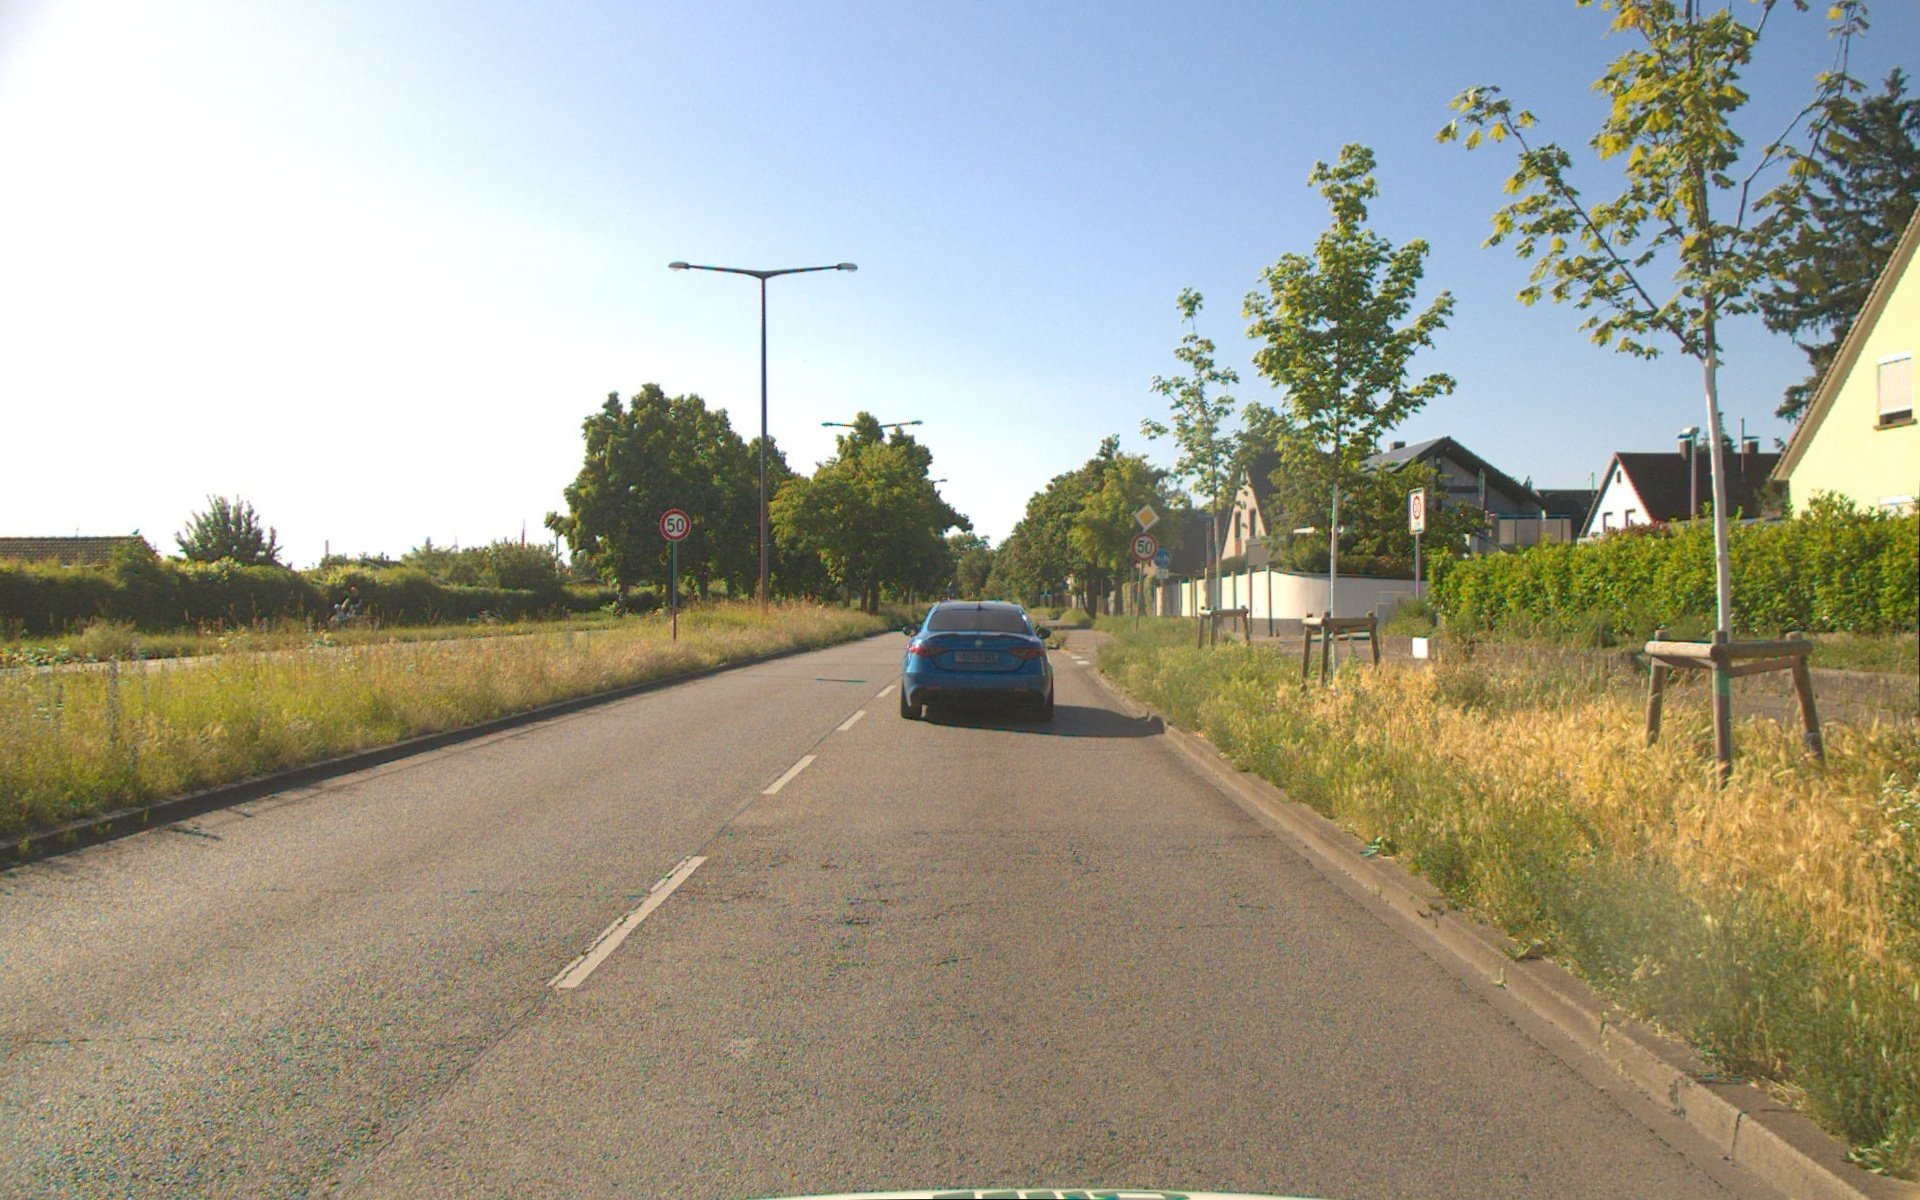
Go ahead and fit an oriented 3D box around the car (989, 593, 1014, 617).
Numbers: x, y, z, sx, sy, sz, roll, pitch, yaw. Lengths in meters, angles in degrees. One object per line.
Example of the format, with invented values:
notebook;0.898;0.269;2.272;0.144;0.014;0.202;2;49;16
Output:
car;2.786;0.339;111.038;1.626;1.607;3.809;1;0;1

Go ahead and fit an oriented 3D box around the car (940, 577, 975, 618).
car;-0.107;-0.105;84.827;1.756;2.049;4.000;0;0;1

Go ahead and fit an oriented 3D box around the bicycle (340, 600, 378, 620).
bicycle;-22.553;0.366;62.094;0.553;0.707;1.876;0;0;8

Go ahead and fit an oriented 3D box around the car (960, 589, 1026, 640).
car;1.044;0.450;54.398;1.877;1.607;4.180;0;0;-3

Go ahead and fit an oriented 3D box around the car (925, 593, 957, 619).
car;-1.144;0.362;100.087;1.876;1.538;4.067;0;0;-1

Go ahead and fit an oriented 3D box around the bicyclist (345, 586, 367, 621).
bicyclist;-22.586;0.127;61.876;0.570;1.279;0.576;0;0;8

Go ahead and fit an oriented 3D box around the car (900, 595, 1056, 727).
car;0.270;0.715;21.283;1.800;1.500;4.185;1;0;2
